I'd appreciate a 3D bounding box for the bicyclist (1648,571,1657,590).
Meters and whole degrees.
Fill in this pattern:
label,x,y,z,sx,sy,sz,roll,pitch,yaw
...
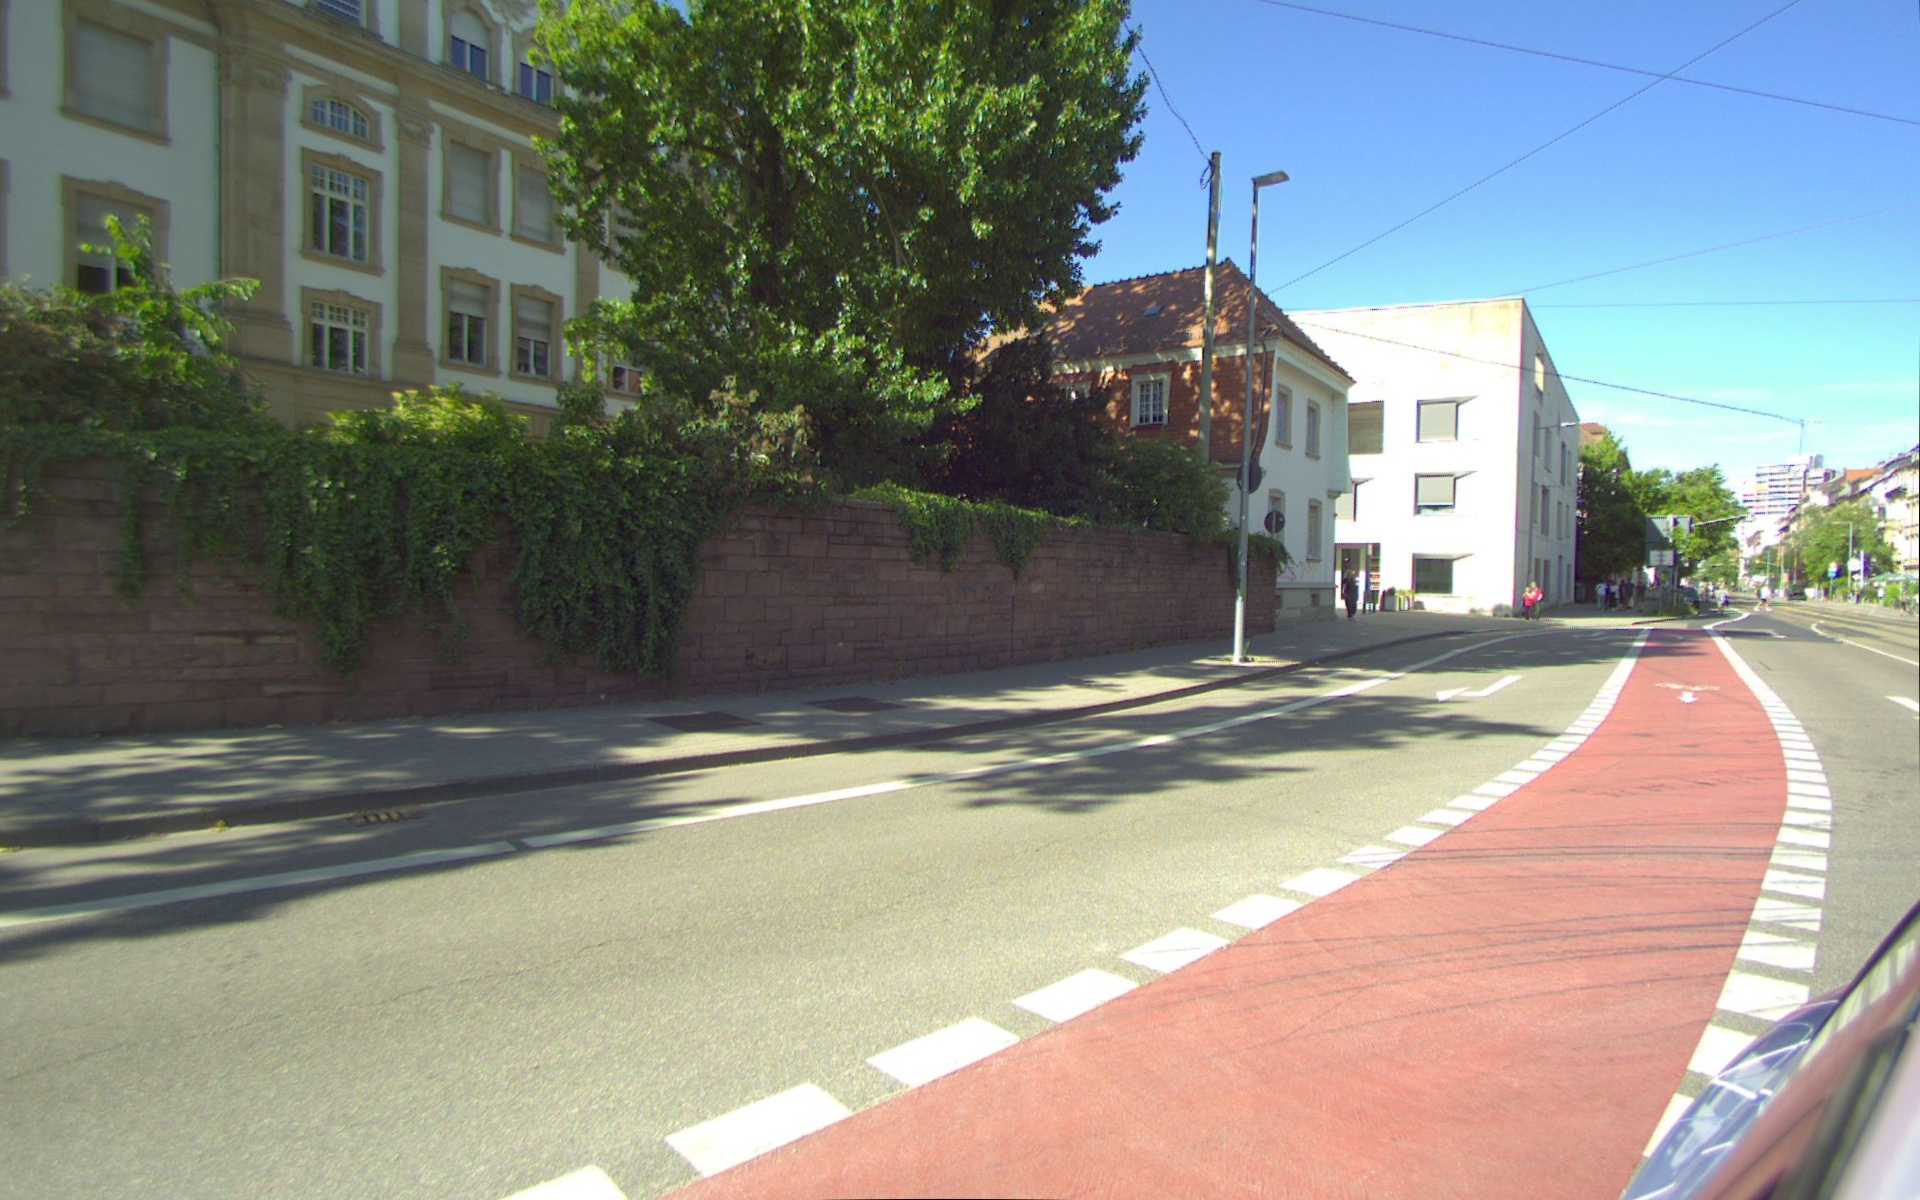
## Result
label,x,y,z,sx,sy,sz,roll,pitch,yaw
bicyclist,81.570,-2.254,119.222,0.809,2.234,0.971,0,1,38

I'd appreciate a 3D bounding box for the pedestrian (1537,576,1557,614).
label,x,y,z,sx,sy,sz,roll,pitch,yaw
pedestrian,24.642,-0.210,42.513,0.510,1.586,0.535,0,1,-35

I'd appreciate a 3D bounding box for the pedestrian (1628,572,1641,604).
label,x,y,z,sx,sy,sz,roll,pitch,yaw
pedestrian,38.392,-0.681,57.610,0.584,1.828,0.575,2,1,36

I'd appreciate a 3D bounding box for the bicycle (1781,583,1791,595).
label,x,y,z,sx,sy,sz,roll,pitch,yaw
bicycle,121.063,-1.645,148.356,0.998,1.702,2.946,0,2,37

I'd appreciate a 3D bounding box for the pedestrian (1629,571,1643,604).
label,x,y,z,sx,sy,sz,roll,pitch,yaw
pedestrian,37.464,-0.709,56.065,0.584,1.828,0.513,2,1,36

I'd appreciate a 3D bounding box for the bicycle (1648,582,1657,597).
label,x,y,z,sx,sy,sz,roll,pitch,yaw
bicycle,81.631,-1.205,119.301,0.826,1.725,2.142,0,2,38

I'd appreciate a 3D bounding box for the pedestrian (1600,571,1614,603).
label,x,y,z,sx,sy,sz,roll,pitch,yaw
pedestrian,36.457,-0.736,56.995,0.584,1.828,0.538,2,1,36

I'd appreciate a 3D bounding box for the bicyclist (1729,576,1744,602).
label,x,y,z,sx,sy,sz,roll,pitch,yaw
bicyclist,44.586,-0.637,58.090,0.663,1.480,0.613,0,1,41

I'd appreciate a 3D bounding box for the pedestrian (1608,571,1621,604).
label,x,y,z,sx,sy,sz,roll,pitch,yaw
pedestrian,37.512,-0.726,57.988,0.584,1.828,0.575,2,1,36

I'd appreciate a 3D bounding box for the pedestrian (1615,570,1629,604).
label,x,y,z,sx,sy,sz,roll,pitch,yaw
pedestrian,36.897,-0.725,56.421,0.584,1.828,0.538,2,1,36

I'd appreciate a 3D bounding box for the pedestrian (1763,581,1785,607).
label,x,y,z,sx,sy,sz,roll,pitch,yaw
pedestrian,55.297,-0.410,68.748,0.919,1.759,0.675,1,1,18

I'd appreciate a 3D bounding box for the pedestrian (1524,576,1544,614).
label,x,y,z,sx,sy,sz,roll,pitch,yaw
pedestrian,24.406,-0.220,43.034,0.510,1.586,0.535,0,1,-35

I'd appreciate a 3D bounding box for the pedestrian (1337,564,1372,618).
label,x,y,z,sx,sy,sz,roll,pitch,yaw
pedestrian,13.237,-0.317,34.001,0.928,1.698,0.949,4,4,18

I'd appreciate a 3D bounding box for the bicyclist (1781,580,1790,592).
label,x,y,z,sx,sy,sz,roll,pitch,yaw
bicyclist,121.053,-2.069,148.347,0.998,1.743,0.972,0,1,37

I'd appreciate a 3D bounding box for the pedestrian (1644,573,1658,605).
label,x,y,z,sx,sy,sz,roll,pitch,yaw
pedestrian,38.137,-0.626,55.831,0.584,1.749,0.513,2,1,36

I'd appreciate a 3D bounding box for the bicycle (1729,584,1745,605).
label,x,y,z,sx,sy,sz,roll,pitch,yaw
bicycle,44.599,-0.316,58.111,0.662,1.166,1.648,0,2,40
